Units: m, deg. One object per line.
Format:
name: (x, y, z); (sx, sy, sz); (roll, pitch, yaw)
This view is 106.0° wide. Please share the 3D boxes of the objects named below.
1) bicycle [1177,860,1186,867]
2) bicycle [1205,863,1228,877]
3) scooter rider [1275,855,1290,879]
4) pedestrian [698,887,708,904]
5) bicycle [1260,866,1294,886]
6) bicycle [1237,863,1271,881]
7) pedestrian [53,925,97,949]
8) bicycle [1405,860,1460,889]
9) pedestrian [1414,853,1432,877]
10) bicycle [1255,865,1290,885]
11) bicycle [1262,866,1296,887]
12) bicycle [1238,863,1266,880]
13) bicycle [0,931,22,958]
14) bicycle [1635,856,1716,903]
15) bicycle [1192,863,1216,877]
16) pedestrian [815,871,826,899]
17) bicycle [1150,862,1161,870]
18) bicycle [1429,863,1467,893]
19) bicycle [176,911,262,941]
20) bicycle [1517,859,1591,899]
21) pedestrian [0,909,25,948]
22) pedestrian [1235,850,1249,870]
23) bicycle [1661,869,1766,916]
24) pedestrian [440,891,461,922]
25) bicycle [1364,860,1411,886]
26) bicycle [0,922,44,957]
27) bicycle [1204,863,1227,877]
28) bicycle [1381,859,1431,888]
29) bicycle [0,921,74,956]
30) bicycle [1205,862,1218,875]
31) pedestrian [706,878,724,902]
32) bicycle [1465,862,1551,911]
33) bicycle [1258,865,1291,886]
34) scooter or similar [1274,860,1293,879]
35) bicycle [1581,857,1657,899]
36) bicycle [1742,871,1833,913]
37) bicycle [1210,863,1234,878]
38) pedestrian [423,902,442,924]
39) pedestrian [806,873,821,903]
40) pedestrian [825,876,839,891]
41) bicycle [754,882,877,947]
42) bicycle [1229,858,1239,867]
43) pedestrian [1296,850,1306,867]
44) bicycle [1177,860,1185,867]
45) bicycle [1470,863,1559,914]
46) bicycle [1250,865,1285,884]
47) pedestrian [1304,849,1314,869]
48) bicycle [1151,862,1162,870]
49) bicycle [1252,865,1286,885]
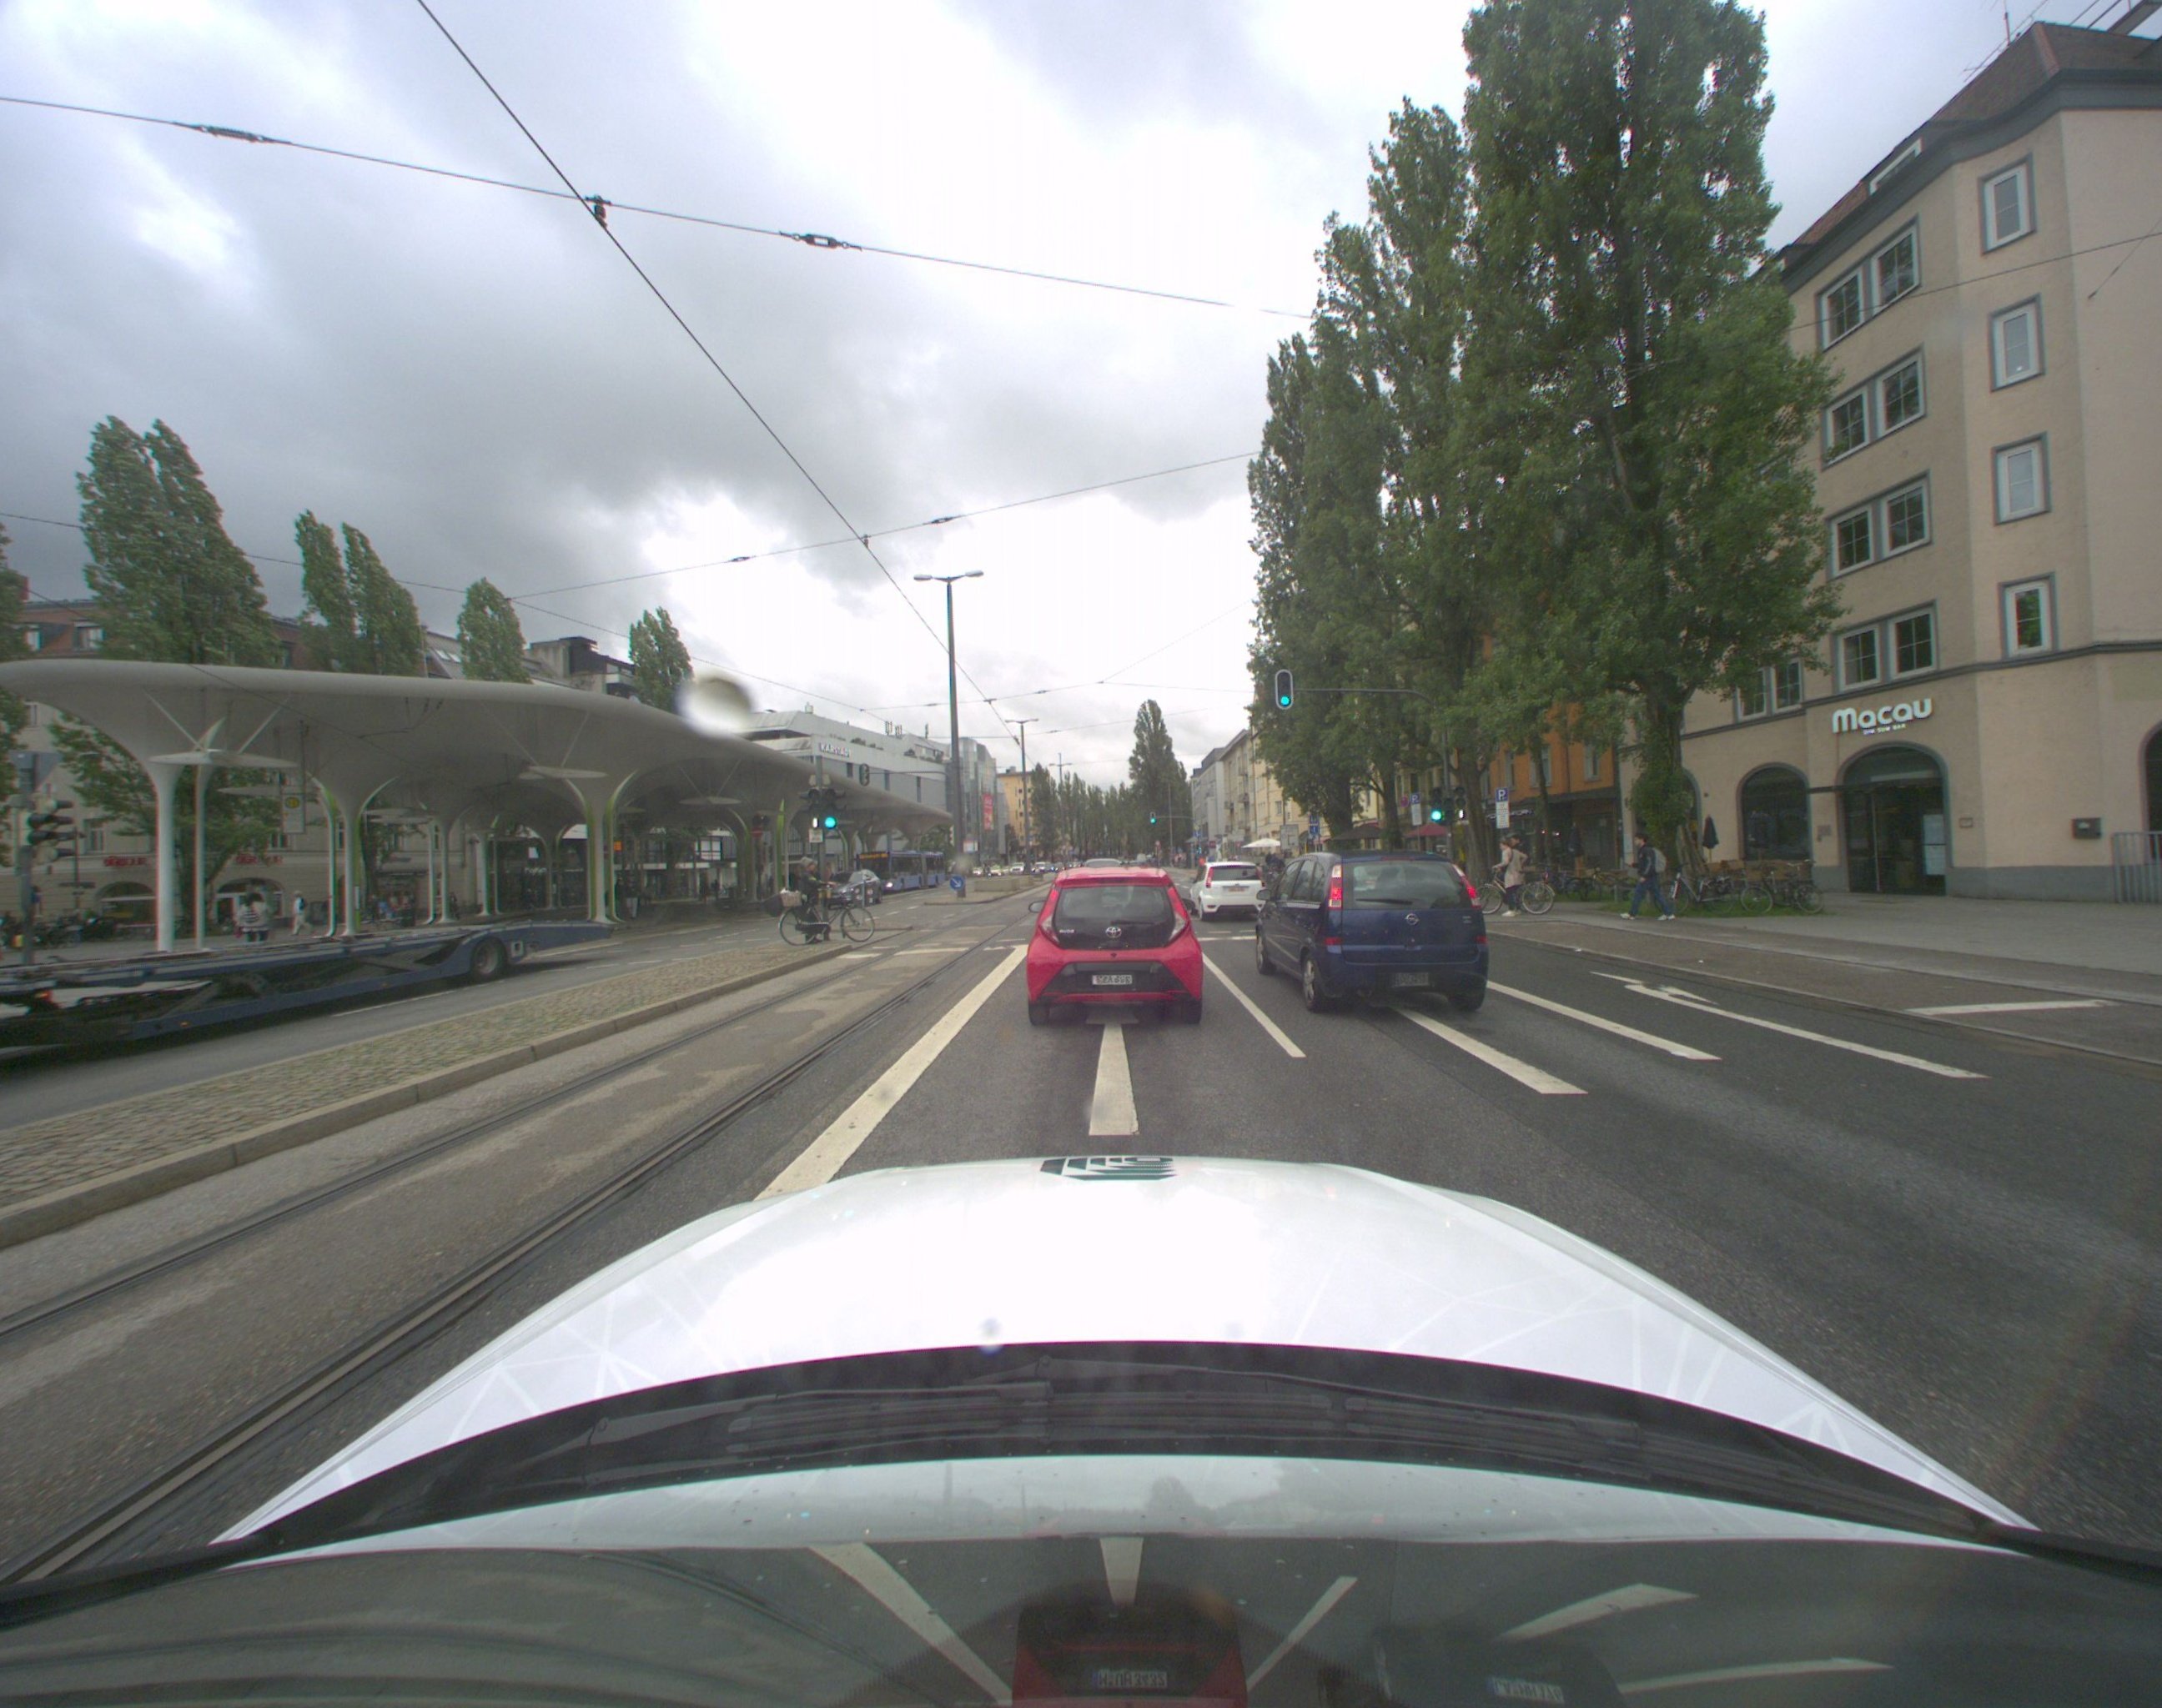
bicycle: (15.113, 1.464, 122.388); (1.175, 0.963, 0.370); (-3, -1, 6)
bicycle: (10.560, 1.254, 63.342); (1.818, 0.996, 0.350); (-4, -1, 41)
scooter rider: (12.257, 0.774, 49.513); (0.698, 1.389, 0.643); (-3, -1, 0)
pedestrian: (-28.525, 3.104, 61.391); (0.577, 1.265, 0.514); (-3, -1, -32)
bicycle: (9.805, 1.089, 40.730); (0.377, 0.995, 1.821); (-2, 1, -37)
bicycle: (10.023, 1.033, 47.212); (1.819, 0.995, 0.377); (-1, 1, 26)
pedestrian: (-48.037, 3.966, 38.876); (1.821, 1.083, 0.619); (-3, -1, 15)
bicycle: (13.459, 0.781, 31.167); (1.882, 1.054, 0.458); (-2, -1, -1)
pedestrian: (17.900, 0.582, 42.600); (0.598, 1.222, 0.666); (-3, -1, 2)
bicycle: (9.905, 1.099, 42.187); (0.377, 0.995, 1.819); (-2, 1, -43)
bicycle: (9.734, 1.085, 40.090); (0.377, 0.995, 1.821); (-2, 1, -37)
bicycle: (10.371, 1.048, 49.382); (0.327, 0.995, 1.820); (-2, 1, -41)
bicycle: (-48.408, 4.027, 36.182); (2.655, 1.134, 0.742); (-3, -1, 16)
bicycle: (13.945, 0.602, 19.113); (1.565, 1.050, 0.392); (-1, -1, 2)
bicycle: (12.112, 1.580, 80.389); (0.619, 1.265, 2.490); (-2, -1, -39)
pedestrian: (-16.434, 1.930, 51.389); (0.566, 1.743, 0.751); (-3, -1, -20)
bicycle: (10.085, 1.607, 110.609); (0.502, 1.028, 1.582); (-2, -1, -40)
bicycle: (12.530, 0.798, 27.847); (0.587, 0.965, 1.654); (-3, -1, 2)
bicycle: (-45.567, 3.799, 43.097); (0.831, 1.314, 2.959); (-3, -1, 26)
bicycle: (13.323, 0.694, 22.965); (1.789, 1.109, 0.447); (0, -1, 3)
pedestrian: (-57.178, 3.976, 43.578); (0.574, 2.014, 0.663); (-2, -1, -29)
pedestrian: (14.353, 0.501, 72.617); (0.882, 1.743, 0.854); (-2, -1, -15)
bicycle: (13.210, 0.802, 17.029); (1.825, 0.917, 0.392); (-1, -1, 3)
pedestrian: (-34.947, 2.895, 45.128); (0.600, 1.647, 0.640); (-3, -1, -6)
bicycle: (13.805, 0.852, 36.727); (1.879, 1.054, 0.459); (-2, -1, 3)
bicycle: (-54.002, 4.309, 40.507); (3.600, 1.613, 1.001); (-2, -1, 1)
bicycle: (10.579, 1.259, 64.029); (0.350, 0.996, 1.819); (-2, -1, -45)
bicycle: (14.264, 0.841, 35.761); (1.879, 1.174, 0.582); (-2, -1, 3)
bicycle: (-53.887, 4.316, 41.617); (3.600, 1.613, 1.001); (-2, -1, 1)
bicycle: (13.302, 1.450, 83.104); (0.613, 1.265, 2.512); (-3, 0, -9)
pedestrian: (-28.160, 2.760, 62.659); (0.867, 1.730, 0.896); (-3, -1, 2)
bicycle: (10.045, 0.778, 19.202); (1.722, 1.102, 0.361); (-3, -1, 37)
bicycle: (9.855, 1.095, 41.493); (0.377, 0.995, 1.821); (-2, 1, -37)
scooter or similar: (12.305, 0.926, 49.455); (0.773, 1.075, 1.256); (-3, -1, 0)
bicycle: (15.133, 0.679, 22.934); (1.789, 1.109, 0.447); (-2, -1, 3)
bicycle: (14.901, 0.790, 17.191); (1.567, 0.835, 0.392); (-1, -1, -1)
bicycle: (10.341, 1.235, 59.754); (0.350, 0.996, 1.819); (-2, -1, -44)
pedestrian: (-35.032, 3.181, 43.995); (0.516, 1.084, 0.577); (-3, -1, -6)
pedestrian: (-16.244, 2.060, 49.397); (0.714, 1.722, 0.878); (-2, -1, -12)
pedestrian: (-22.541, 2.638, 73.785); (0.843, 1.317, 0.869); (-2, -1, -42)
bicycle: (-5.192, 1.163, 16.000); (2.237, 1.150, 0.502); (-1, -2, -28)
bicycle: (18.893, 1.012, 100.836); (0.495, 1.059, 1.858); (-2, 0, -13)
pedestrian: (18.873, 0.411, 69.859); (0.673, 1.423, 0.617); (-3, -1, 2)
bicycle: (15.128, 1.449, 122.931); (1.177, 0.963, 0.369); (-3, -1, 0)
bicycle: (9.803, 0.792, 18.471); (0.361, 1.102, 1.724); (-2, -1, -42)
bicycle: (9.979, 1.110, 43.617); (1.818, 0.995, 0.378); (-1, 1, 40)
pedestrian: (19.350, 0.402, 69.107); (0.612, 1.633, 0.678); (-3, -1, 2)
bicycle: (10.128, 1.602, 109.752); (0.502, 1.028, 1.582); (-2, -1, -40)
bicycle: (9.894, 1.105, 42.937); (1.819, 0.995, 0.377); (-1, 1, 44)
